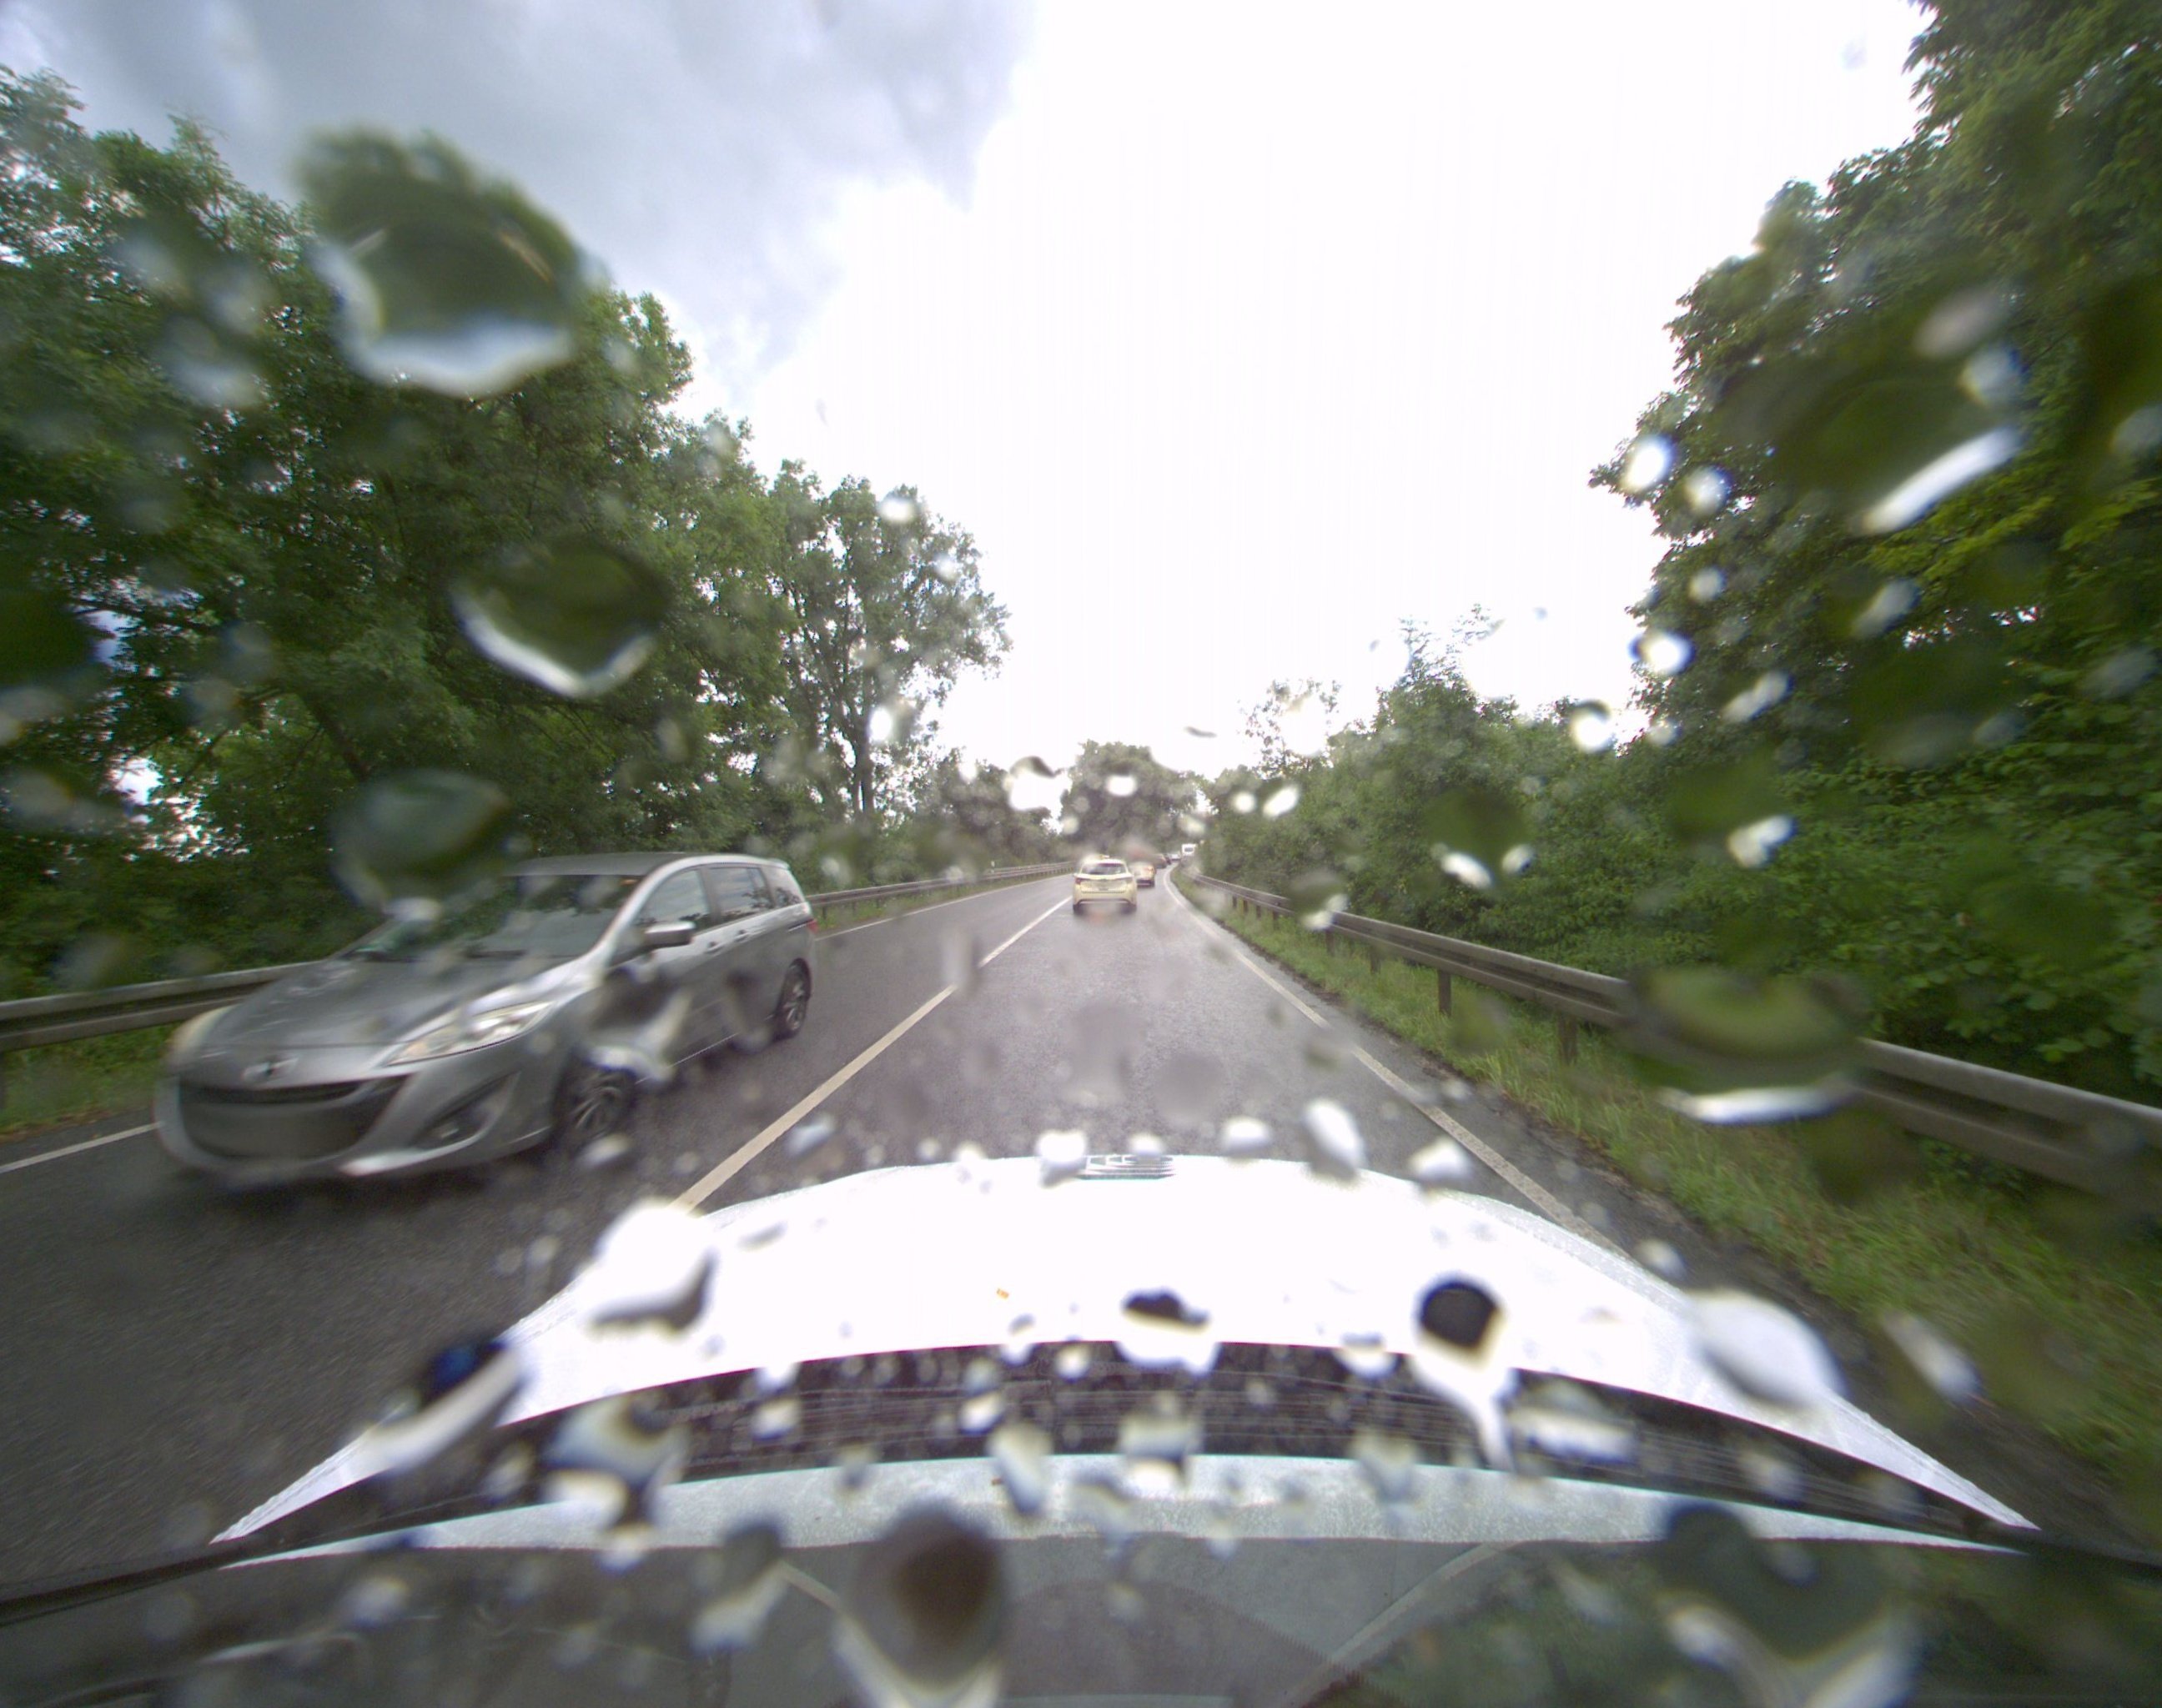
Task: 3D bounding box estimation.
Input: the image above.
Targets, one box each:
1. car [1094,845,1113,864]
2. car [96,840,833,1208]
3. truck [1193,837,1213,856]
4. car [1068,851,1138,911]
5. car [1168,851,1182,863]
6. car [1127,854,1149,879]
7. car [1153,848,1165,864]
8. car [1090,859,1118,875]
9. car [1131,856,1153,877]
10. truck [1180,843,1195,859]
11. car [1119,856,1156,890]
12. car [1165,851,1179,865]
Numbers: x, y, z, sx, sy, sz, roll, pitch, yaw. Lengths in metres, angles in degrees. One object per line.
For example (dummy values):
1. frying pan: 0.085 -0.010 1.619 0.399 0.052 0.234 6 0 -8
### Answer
1. car: 2.605 0.088 92.522 1.985 2.014 4.003 -1 -1 3
2. car: -3.339 0.734 5.703 1.686 1.574 4.377 -1 0 2
3. truck: 25.708 -1.527 171.356 3.084 3.681 7.028 -1 -1 16
4. car: 0.700 0.749 23.552 1.826 1.580 4.160 -1 -1 4
5. car: 13.431 0.433 116.464 1.758 1.547 3.825 -1 -1 10
6. car: 3.621 0.799 52.360 1.295 1.547 3.261 -1 -1 2
7. car: 7.853 0.259 81.944 1.161 1.547 2.609 -1 -1 7
8. car: 2.026 1.130 70.395 1.801 1.355 4.010 -1 -1 9
9. car: 4.815 0.984 63.575 1.603 1.547 3.818 -1 -2 5
10. truck: 18.994 -0.497 145.236 2.537 2.713 7.547 -1 -1 6
11. car: 2.736 0.908 39.731 1.660 1.580 3.895 -1 -1 3
12. car: 10.892 0.442 96.875 1.607 1.613 3.628 -1 -1 7
